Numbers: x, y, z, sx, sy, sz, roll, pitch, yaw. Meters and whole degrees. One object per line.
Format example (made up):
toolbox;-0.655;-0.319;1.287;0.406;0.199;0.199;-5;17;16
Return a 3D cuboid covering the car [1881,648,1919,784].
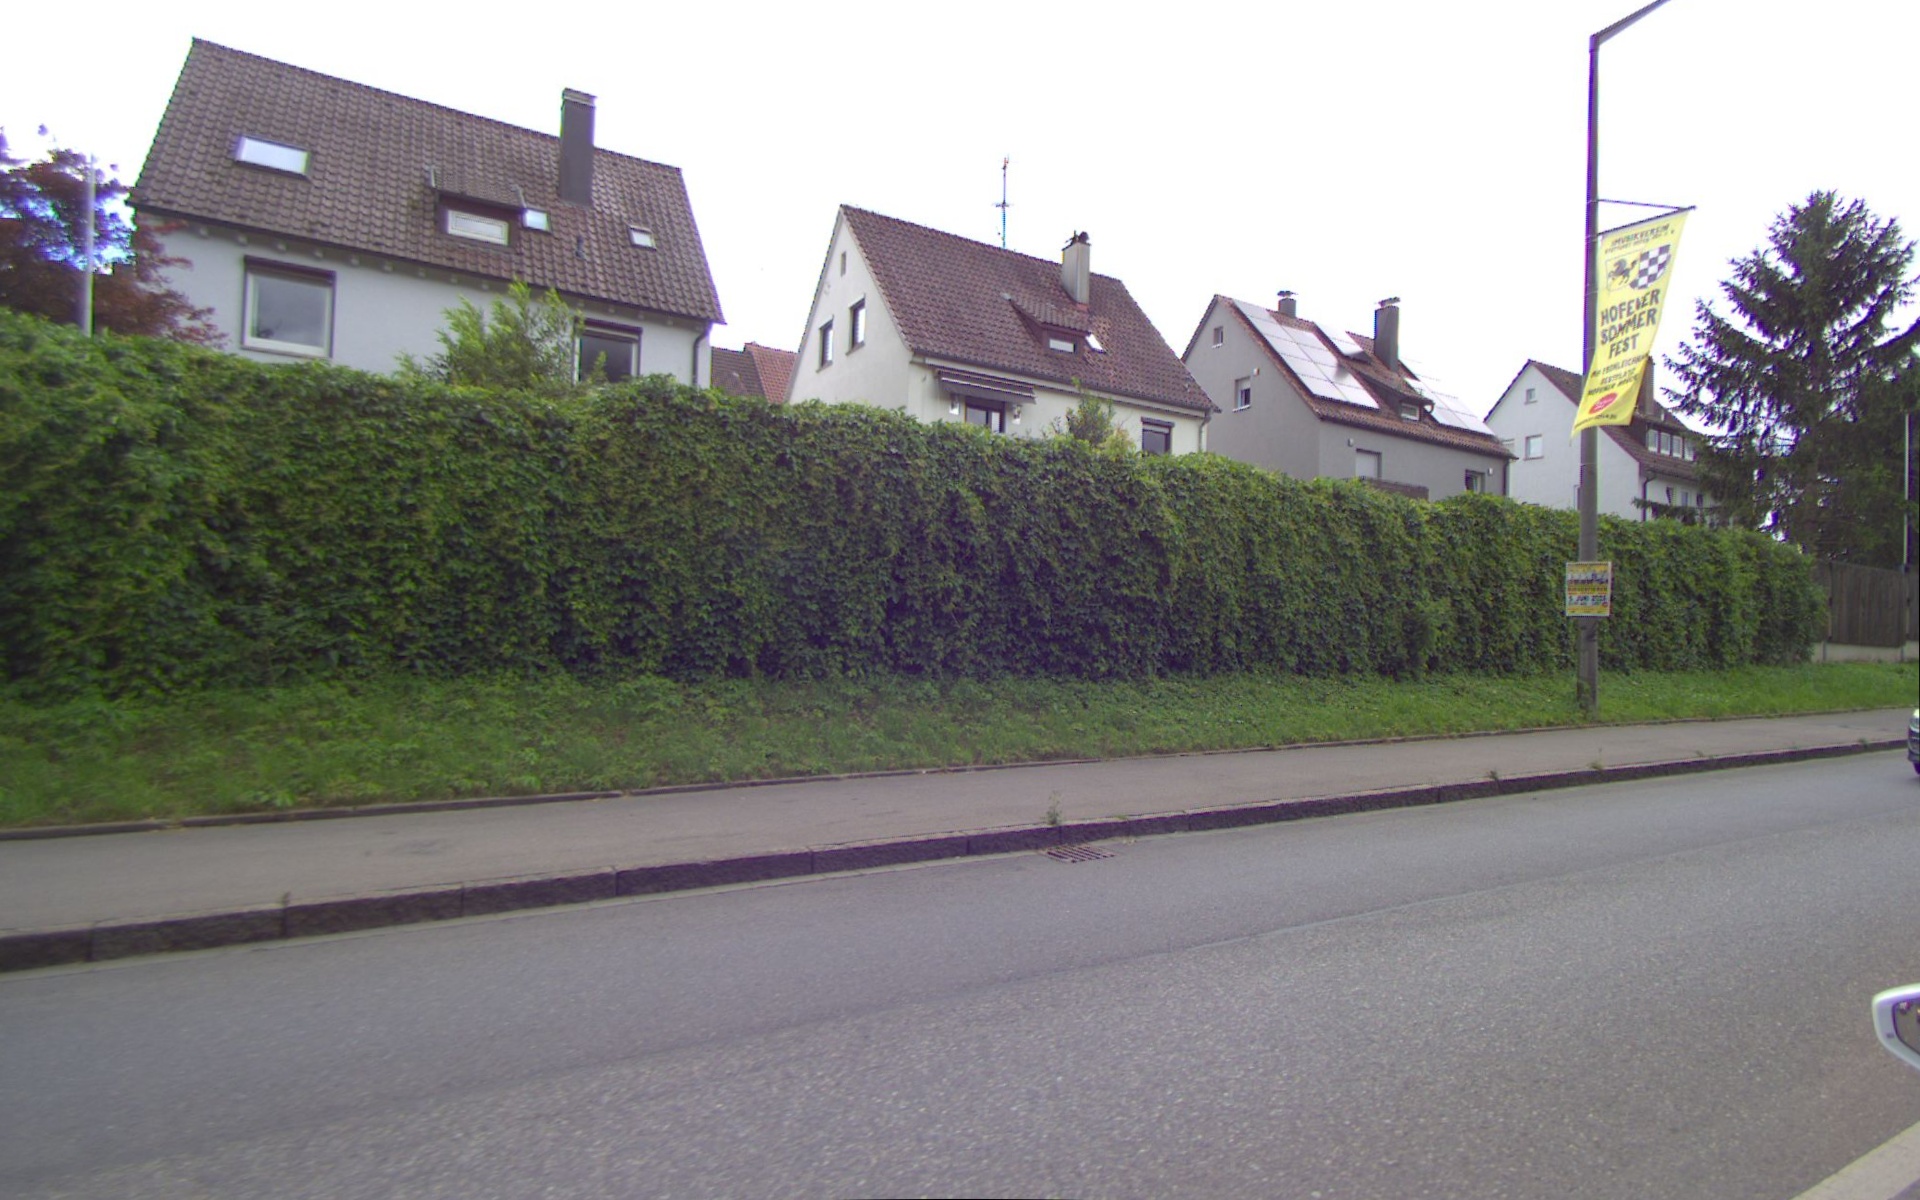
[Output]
car;12.534;1.286;11.538;4.104;1.483;1.720;1;-3;-30
